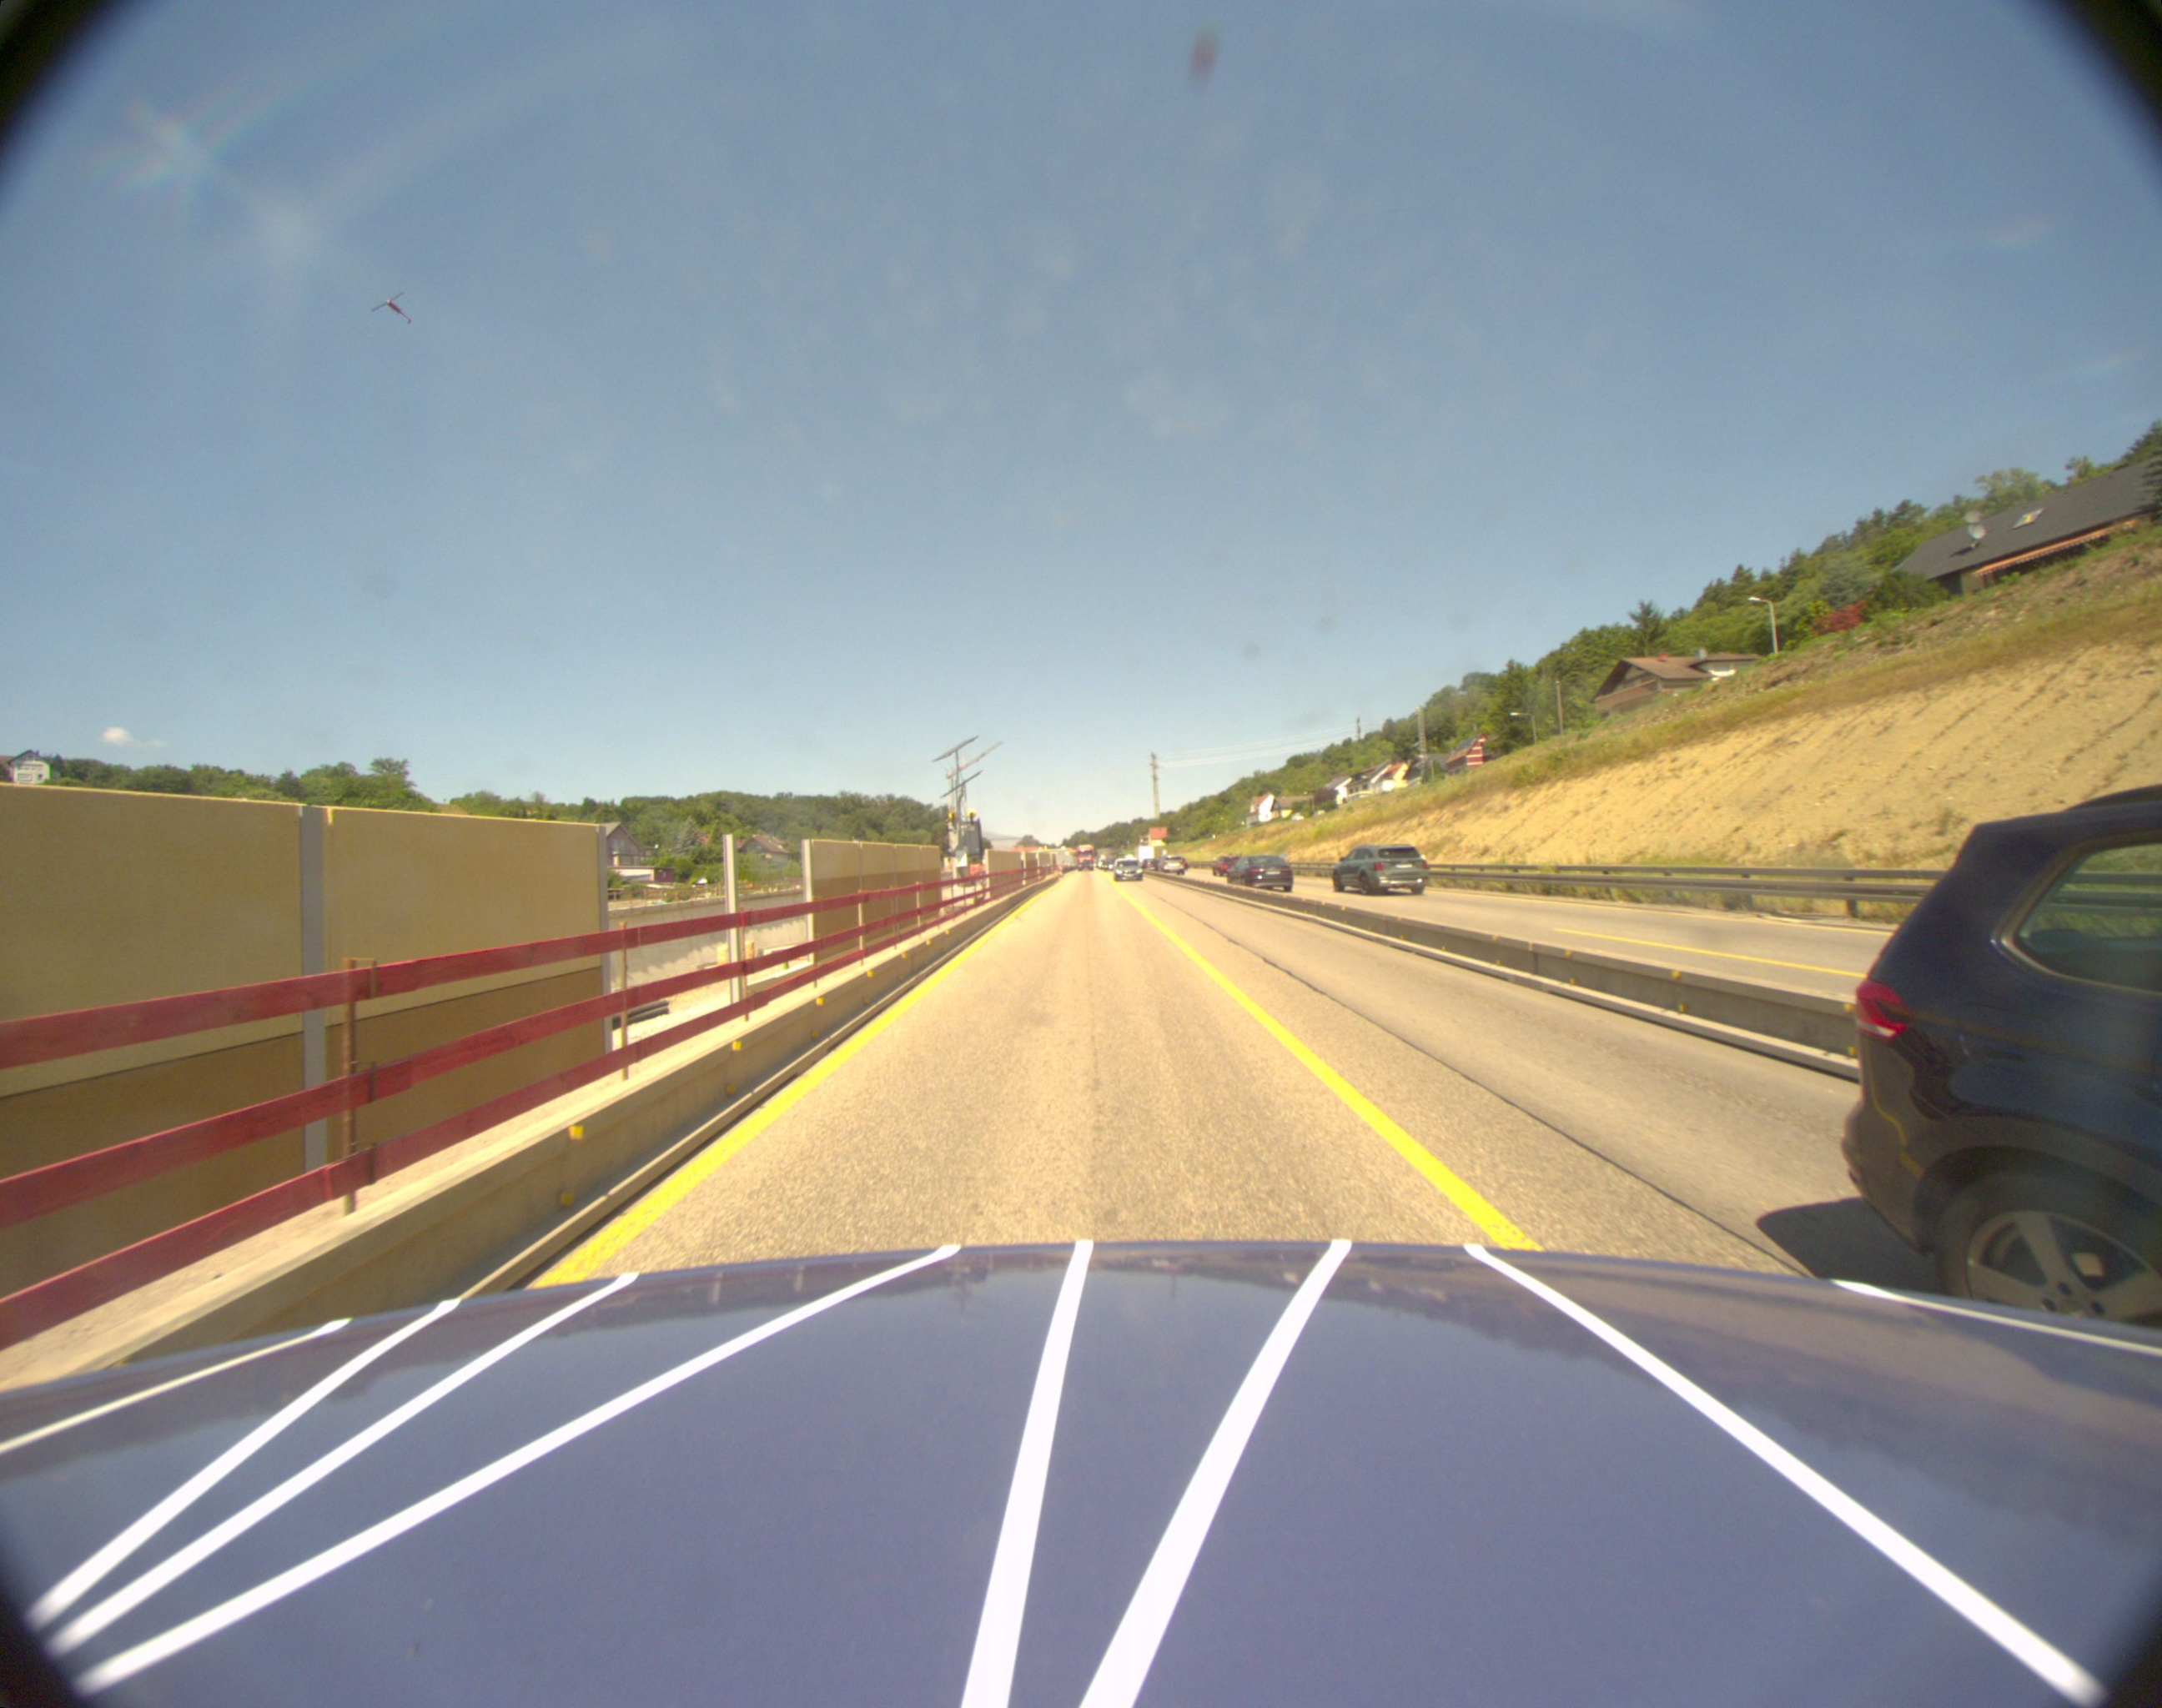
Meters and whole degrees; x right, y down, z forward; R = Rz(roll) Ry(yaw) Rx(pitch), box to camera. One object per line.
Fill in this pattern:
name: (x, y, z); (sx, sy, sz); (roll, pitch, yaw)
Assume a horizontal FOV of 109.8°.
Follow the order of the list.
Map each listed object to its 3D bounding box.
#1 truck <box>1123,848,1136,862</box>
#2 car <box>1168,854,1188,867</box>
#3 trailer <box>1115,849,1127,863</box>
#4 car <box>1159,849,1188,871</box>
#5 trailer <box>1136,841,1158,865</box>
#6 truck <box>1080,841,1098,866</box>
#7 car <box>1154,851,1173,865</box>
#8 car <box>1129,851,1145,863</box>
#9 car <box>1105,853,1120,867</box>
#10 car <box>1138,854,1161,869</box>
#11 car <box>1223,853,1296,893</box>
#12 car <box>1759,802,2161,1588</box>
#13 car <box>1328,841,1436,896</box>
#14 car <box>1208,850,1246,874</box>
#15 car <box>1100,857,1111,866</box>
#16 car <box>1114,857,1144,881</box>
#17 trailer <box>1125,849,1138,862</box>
truck: (12.131, 0.277, 189.803); (2.733, 3.124, 8.960); (-3, 0, 1)
car: (10.933, 0.693, 86.144); (1.714, 1.410, 4.242); (-2, 0, 1)
trailer: (12.395, 0.620, 236.593); (2.920, 3.915, 10.527); (-2, 0, 1)
car: (7.656, 0.468, 63.260); (1.849, 1.655, 4.688); (-3, 0, 1)
trailer: (12.148, -0.201, 141.675); (2.793, 4.157, 13.979); (-2, 0, 0)
truck: (1.334, 0.034, 120.969); (2.605, 3.703, 10.538); (-2, -1, 1)
car: (11.178, 0.531, 103.407); (2.043, 1.915, 5.121); (-1, 0, 0)
car: (8.098, 0.427, 110.197); (1.844, 1.644, 5.371); (-2, 0, 0)
car: (4.171, 0.756, 100.168); (1.780, 1.727, 4.336); (-2, -1, 1)
car: (7.248, 0.783, 80.262); (1.960, 1.490, 5.090); (-3, 0, 1)
car: (7.094, 0.690, 30.708); (1.801, 1.419, 4.949); (-2, 0, 0)
car: (3.180, 0.682, 0.229); (1.780, 1.708, 4.653); (-2, -1, 1)
car: (10.192, 0.471, 26.149); (1.858, 1.662, 4.668); (-2, 0, 0)
car: (10.287, 0.534, 54.001); (1.689, 1.576, 5.126); (-3, 0, 1)
car: (4.426, 1.316, 137.403); (1.780, 1.485, 4.336); (-2, -1, 1)
car: (3.185, 0.977, 50.891); (1.780, 1.447, 4.336); (-2, -1, 1)
trailer: (12.051, 0.328, 181.993); (2.619, 2.983, 6.371); (-3, 0, 1)
